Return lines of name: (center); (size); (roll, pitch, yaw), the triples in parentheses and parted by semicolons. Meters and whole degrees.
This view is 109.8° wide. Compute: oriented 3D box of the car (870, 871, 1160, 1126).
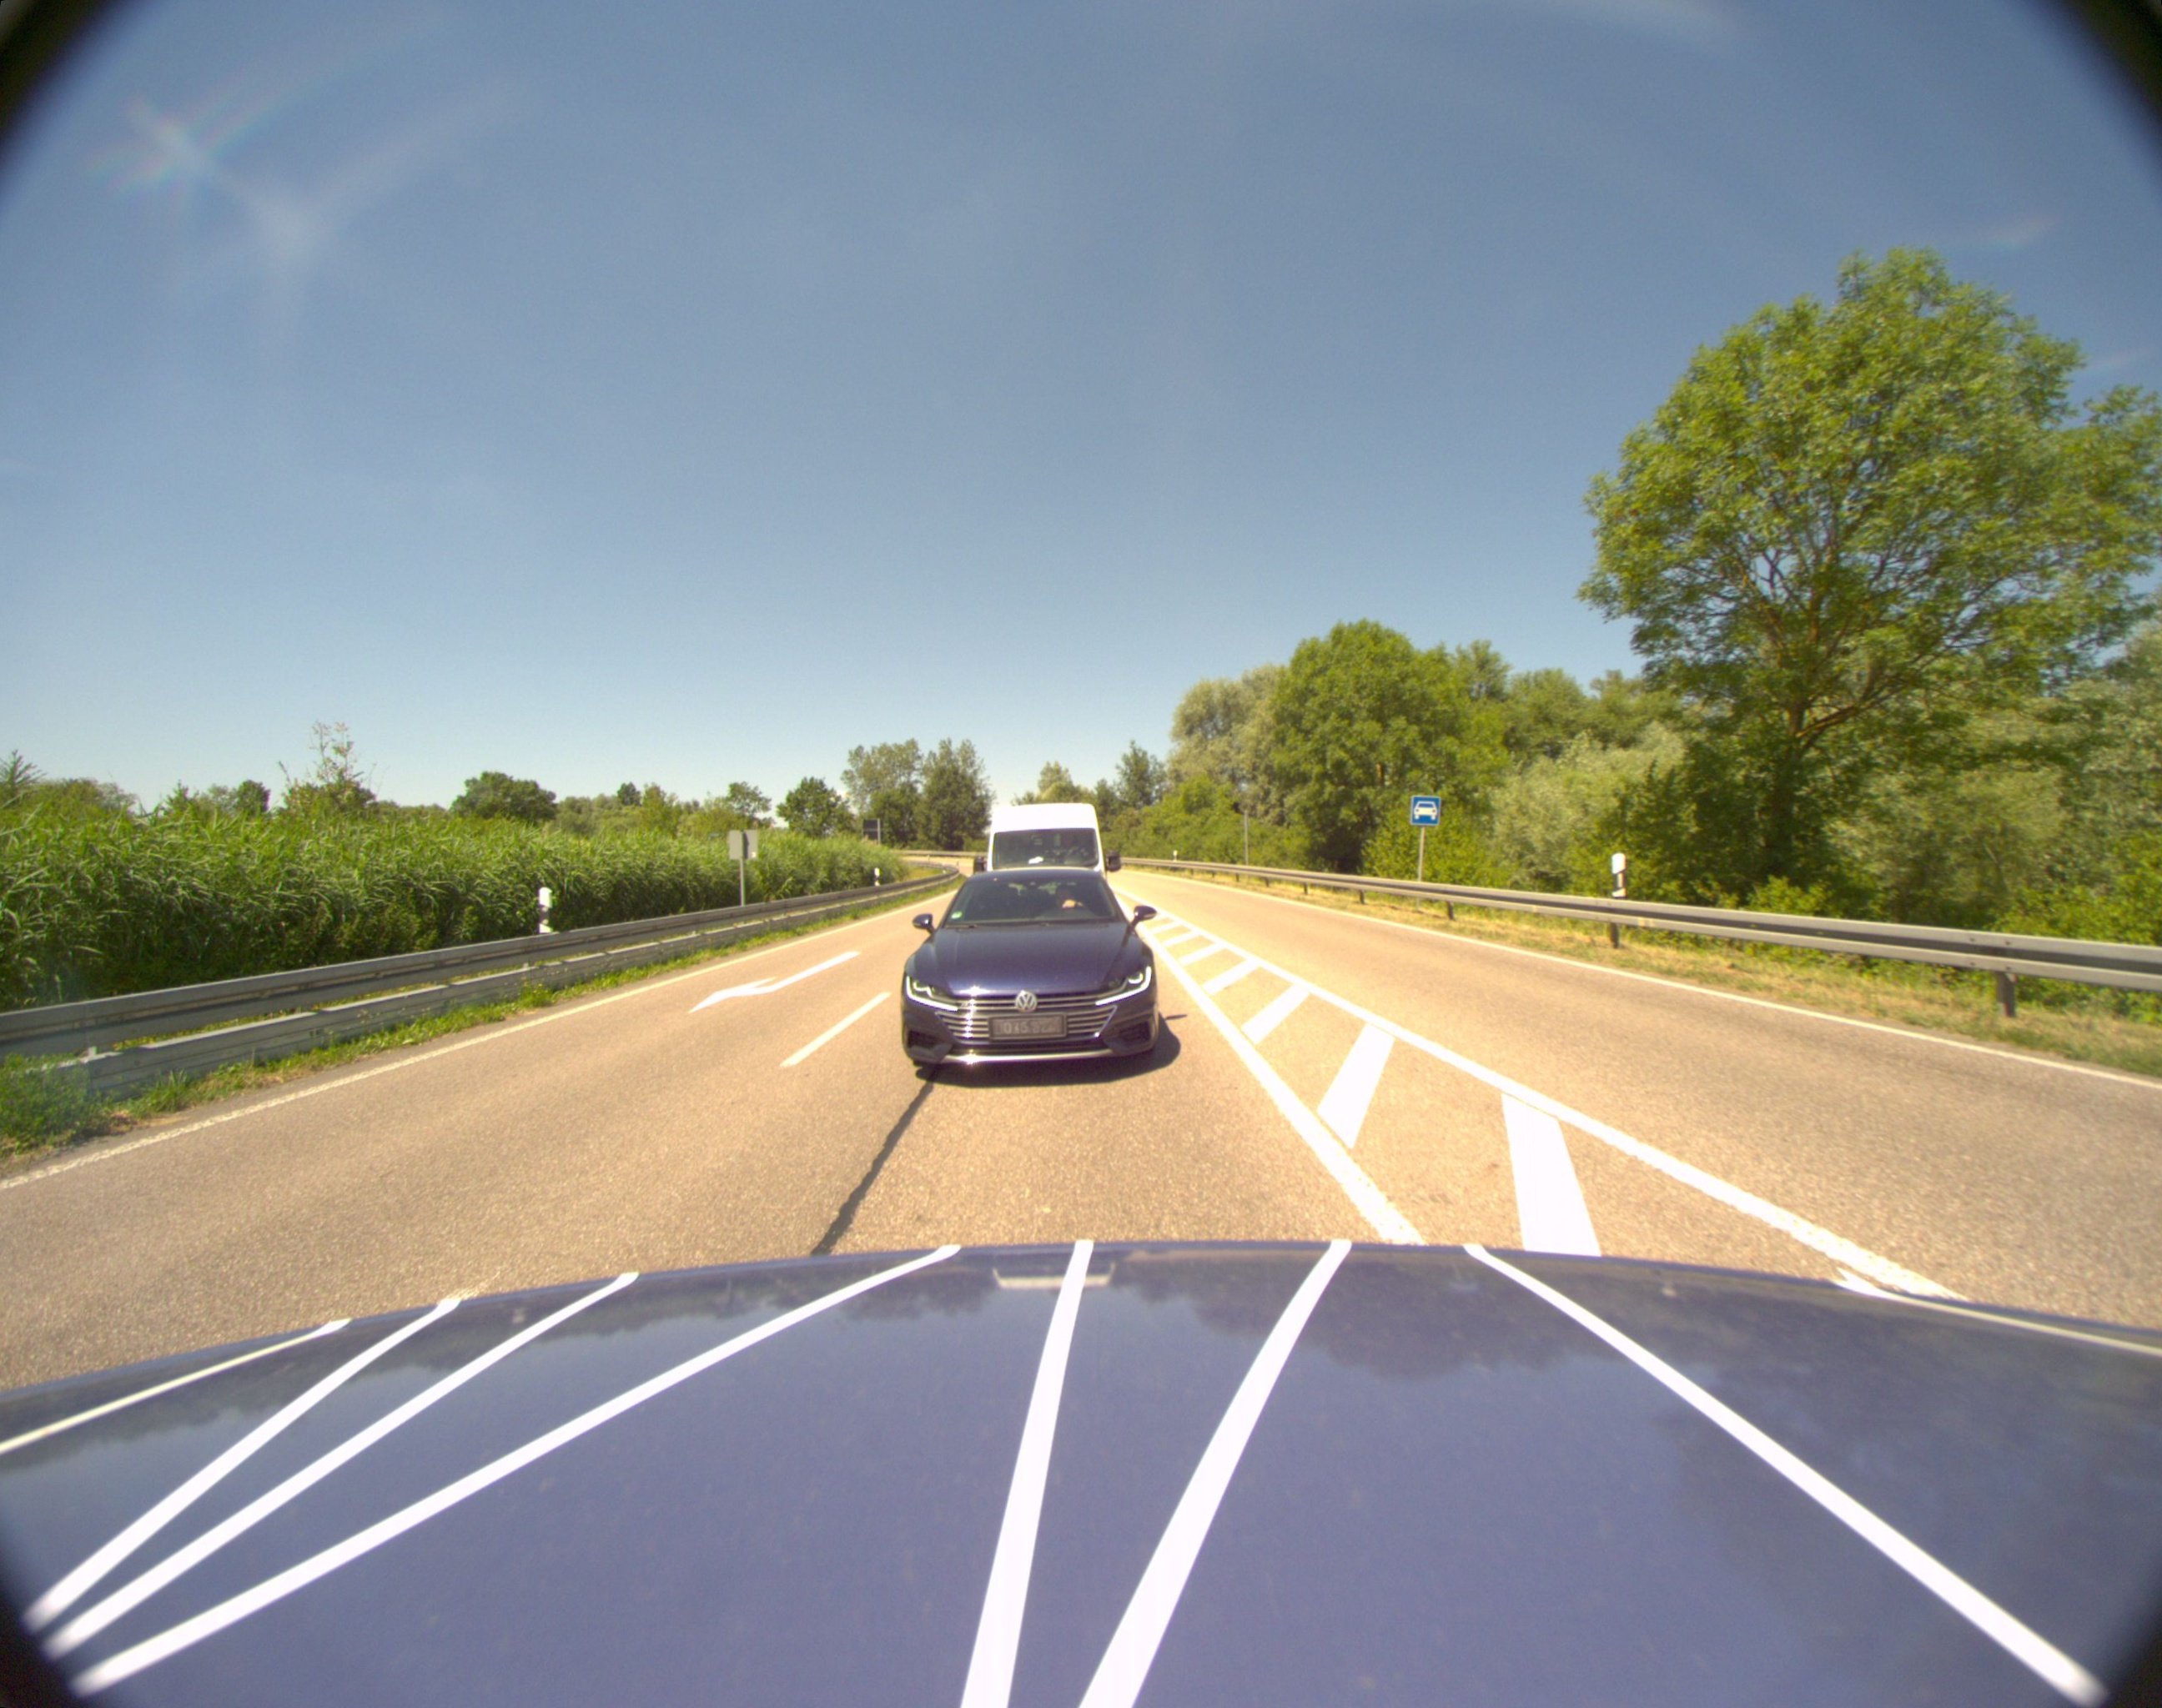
car: (-0.399, 0.950, 6.748); (1.761, 1.401, 3.999); (-2, 1, 0)

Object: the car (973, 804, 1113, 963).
car: (-0.568, 0.419, 14.588); (2.059, 2.376, 5.826); (-2, 1, 0)
